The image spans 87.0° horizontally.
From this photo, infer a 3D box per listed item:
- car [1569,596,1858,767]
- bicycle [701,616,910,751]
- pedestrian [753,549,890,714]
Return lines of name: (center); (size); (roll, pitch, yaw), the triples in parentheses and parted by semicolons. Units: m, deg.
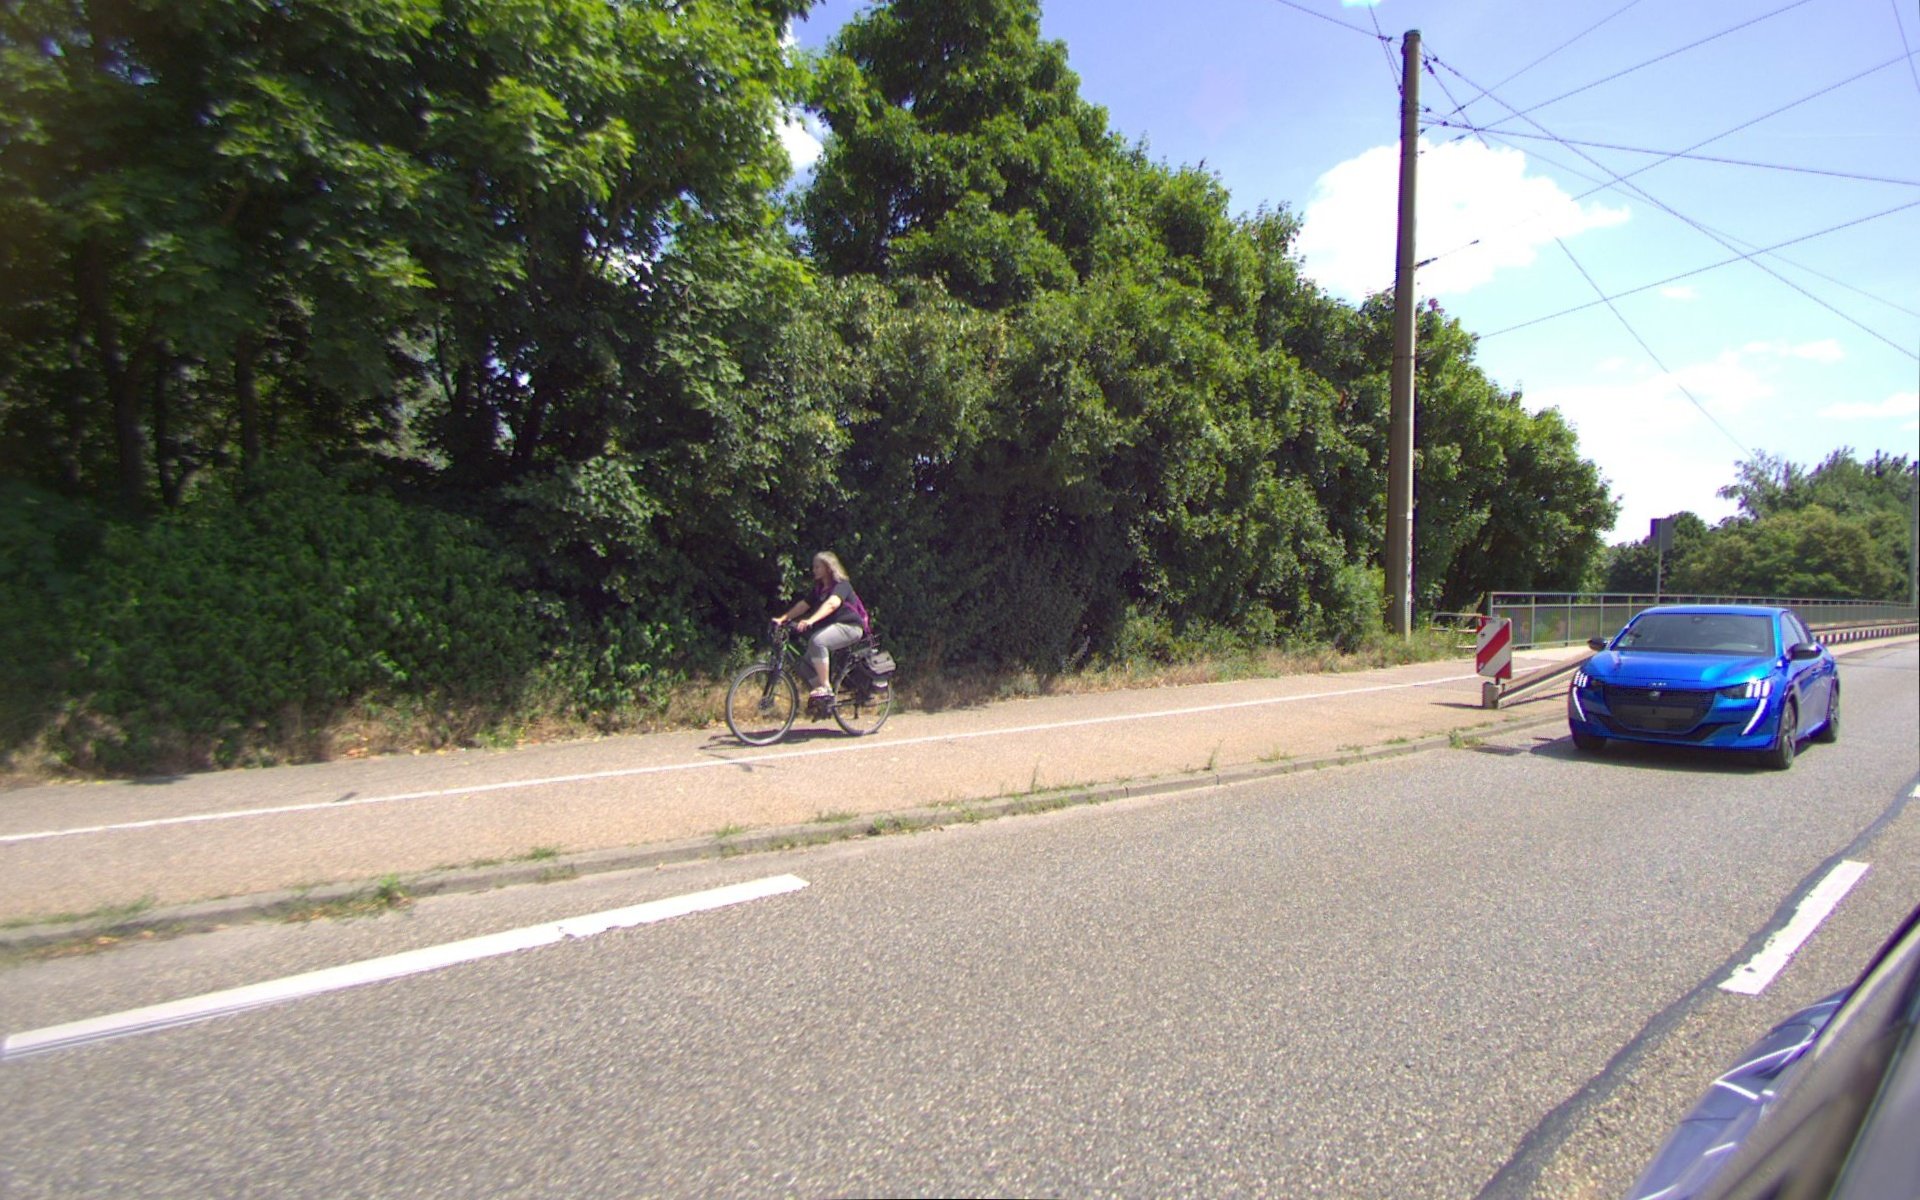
car: (7.772, 0.674, 10.326); (3.679, 1.423, 1.658); (0, 0, -41)
bicycle: (-1.340, 0.692, 9.033); (1.815, 1.037, 0.561); (0, 2, -41)
pedestrian: (-1.240, 0.255, 9.109); (1.032, 1.391, 0.629); (0, 1, -41)
